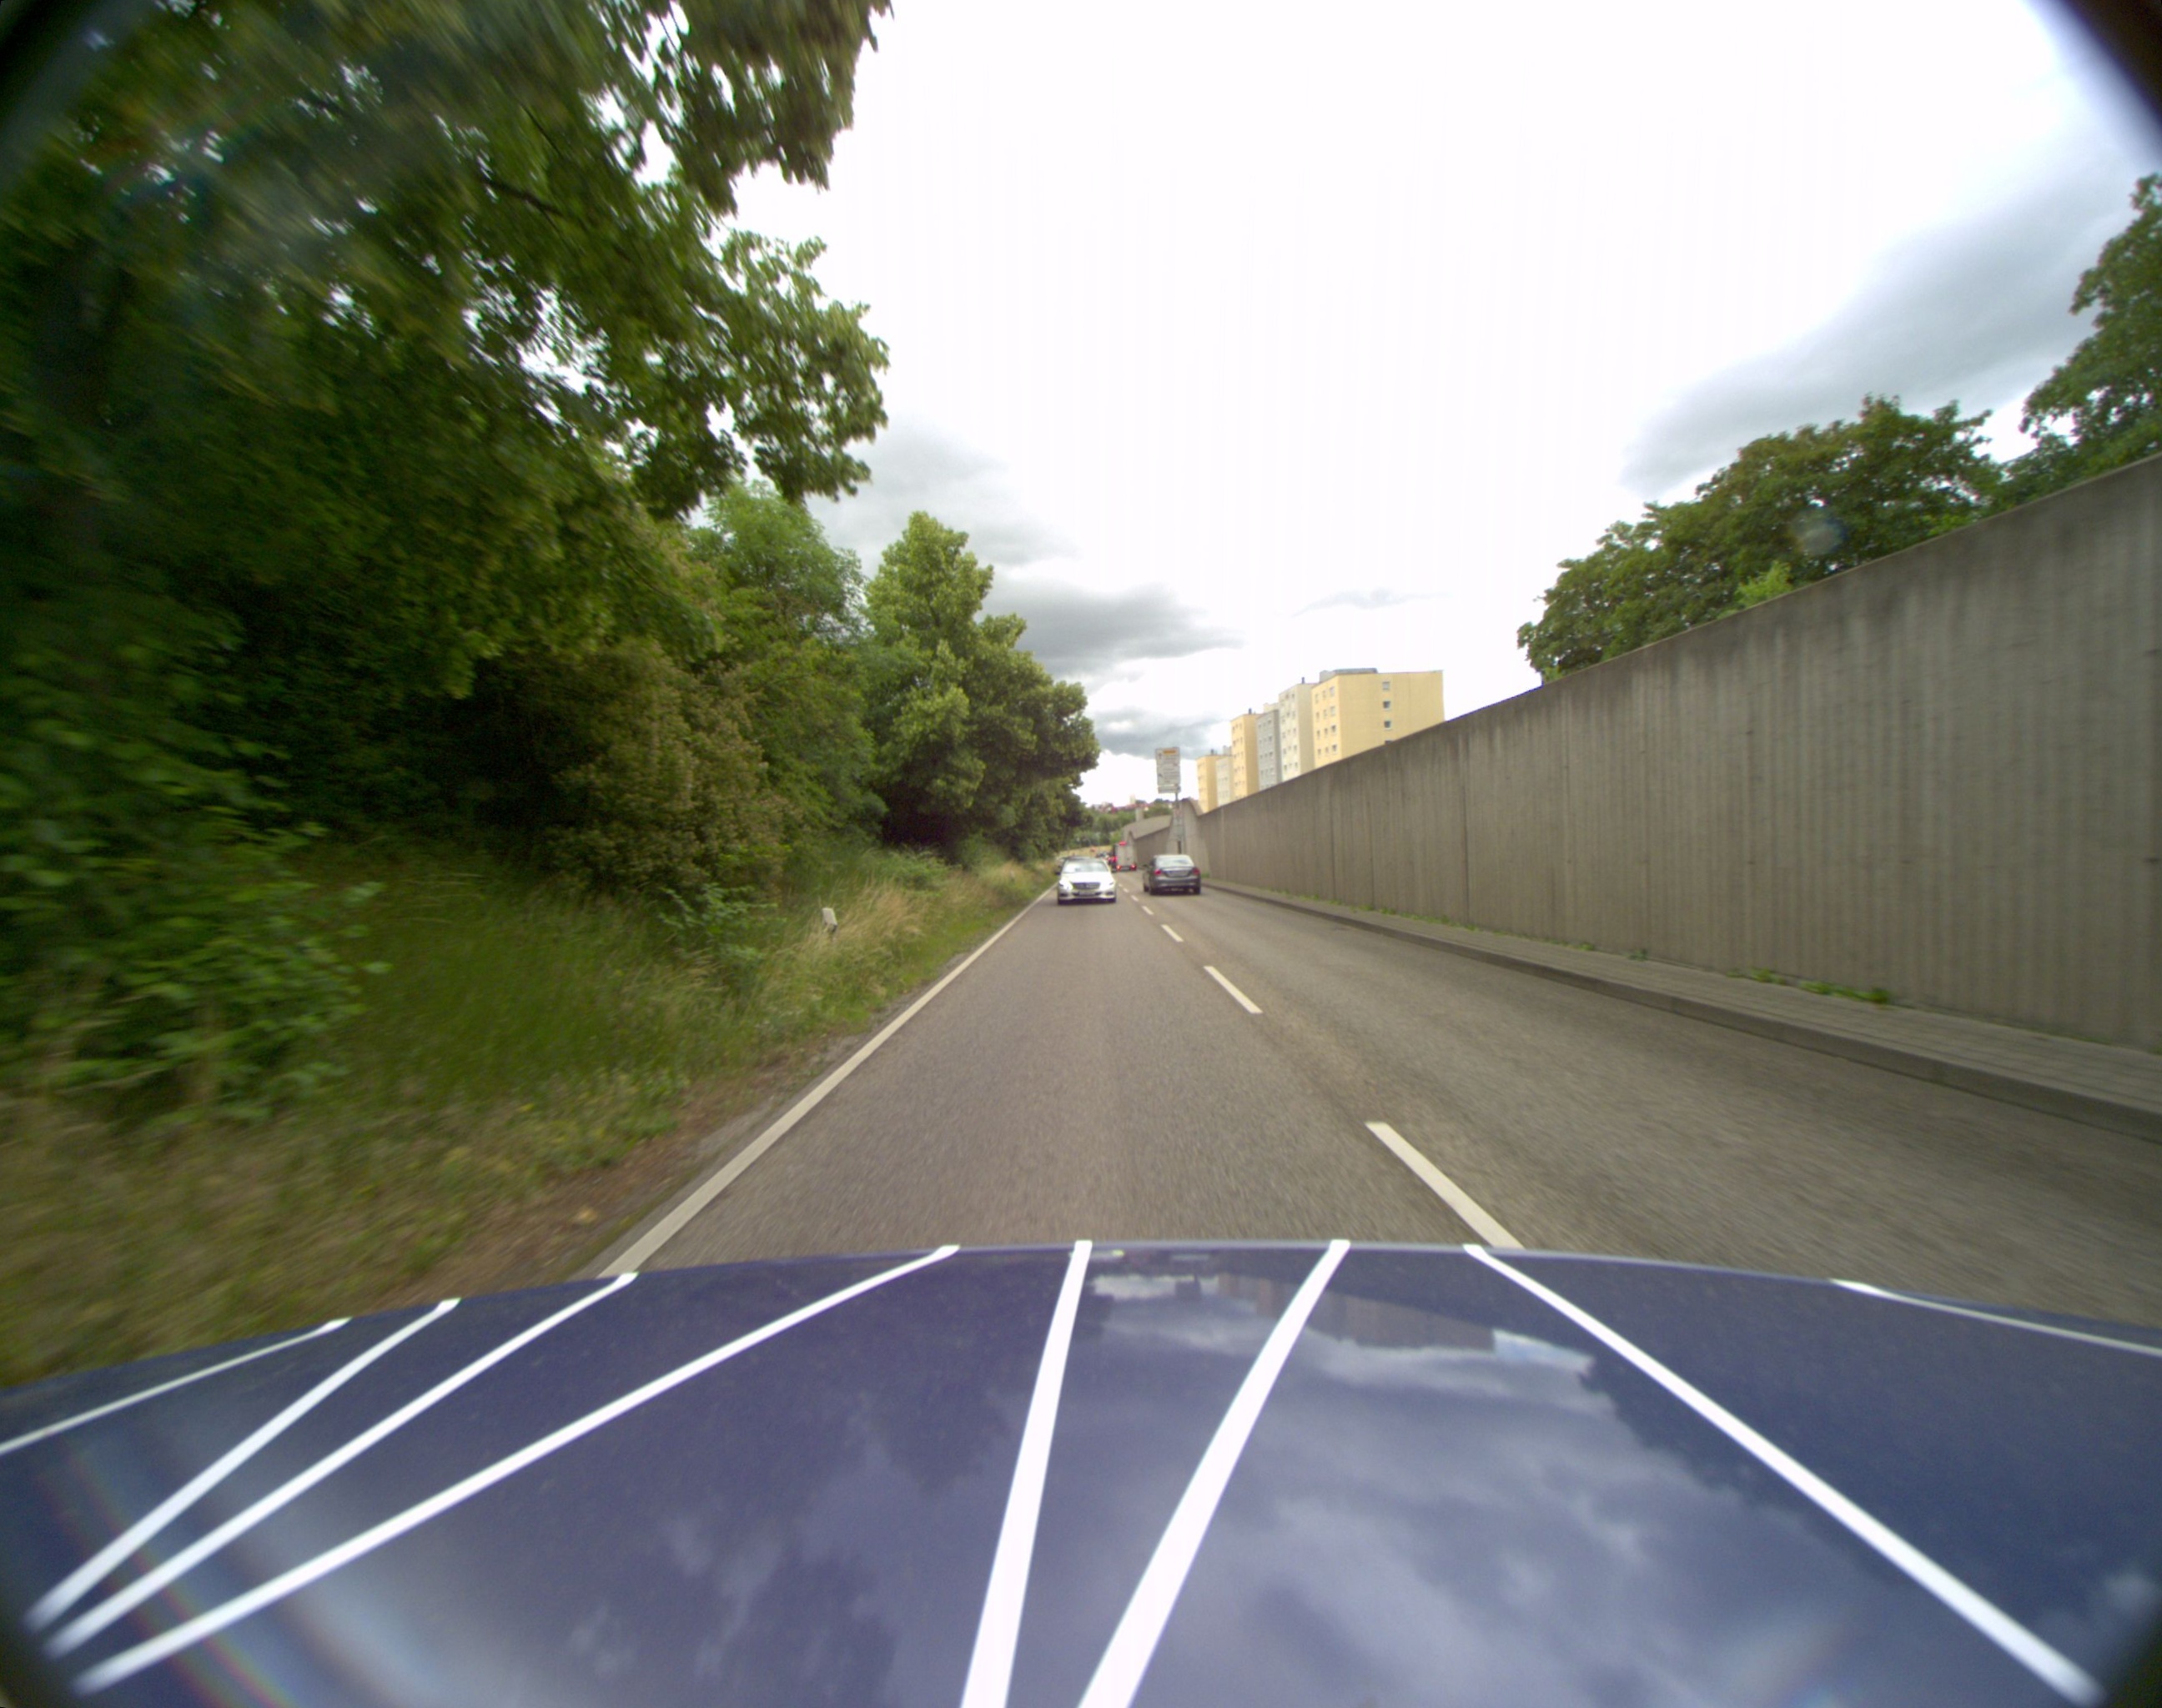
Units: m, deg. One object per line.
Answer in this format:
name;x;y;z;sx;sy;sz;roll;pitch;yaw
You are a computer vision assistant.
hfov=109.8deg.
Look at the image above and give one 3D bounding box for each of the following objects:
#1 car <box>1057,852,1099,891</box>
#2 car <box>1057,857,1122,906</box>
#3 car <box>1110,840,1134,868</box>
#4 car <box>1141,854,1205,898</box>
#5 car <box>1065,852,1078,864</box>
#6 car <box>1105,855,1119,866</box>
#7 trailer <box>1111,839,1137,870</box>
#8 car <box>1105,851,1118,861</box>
car;-0.200;0.808;36.937;1.759;1.532;3.998;-5;1;-2
car;0.199;0.865;25.590;1.905;1.471;4.093;-2;0;-3
car;4.004;0.015;75.465;2.115;2.615;7.417;-2;0;1
car;3.414;0.765;29.041;1.897;1.475;4.823;-2;0;1
car;-1.534;0.556;120.498;1.895;1.623;4.424;-3;2;0
car;4.415;0.894;109.745;1.772;1.487;4.208;-3;0;0
trailer;3.923;0.033;69.568;2.115;2.615;4.371;-2;0;1
car;4.954;0.282;122.906;1.920;1.487;4.208;-3;0;2
